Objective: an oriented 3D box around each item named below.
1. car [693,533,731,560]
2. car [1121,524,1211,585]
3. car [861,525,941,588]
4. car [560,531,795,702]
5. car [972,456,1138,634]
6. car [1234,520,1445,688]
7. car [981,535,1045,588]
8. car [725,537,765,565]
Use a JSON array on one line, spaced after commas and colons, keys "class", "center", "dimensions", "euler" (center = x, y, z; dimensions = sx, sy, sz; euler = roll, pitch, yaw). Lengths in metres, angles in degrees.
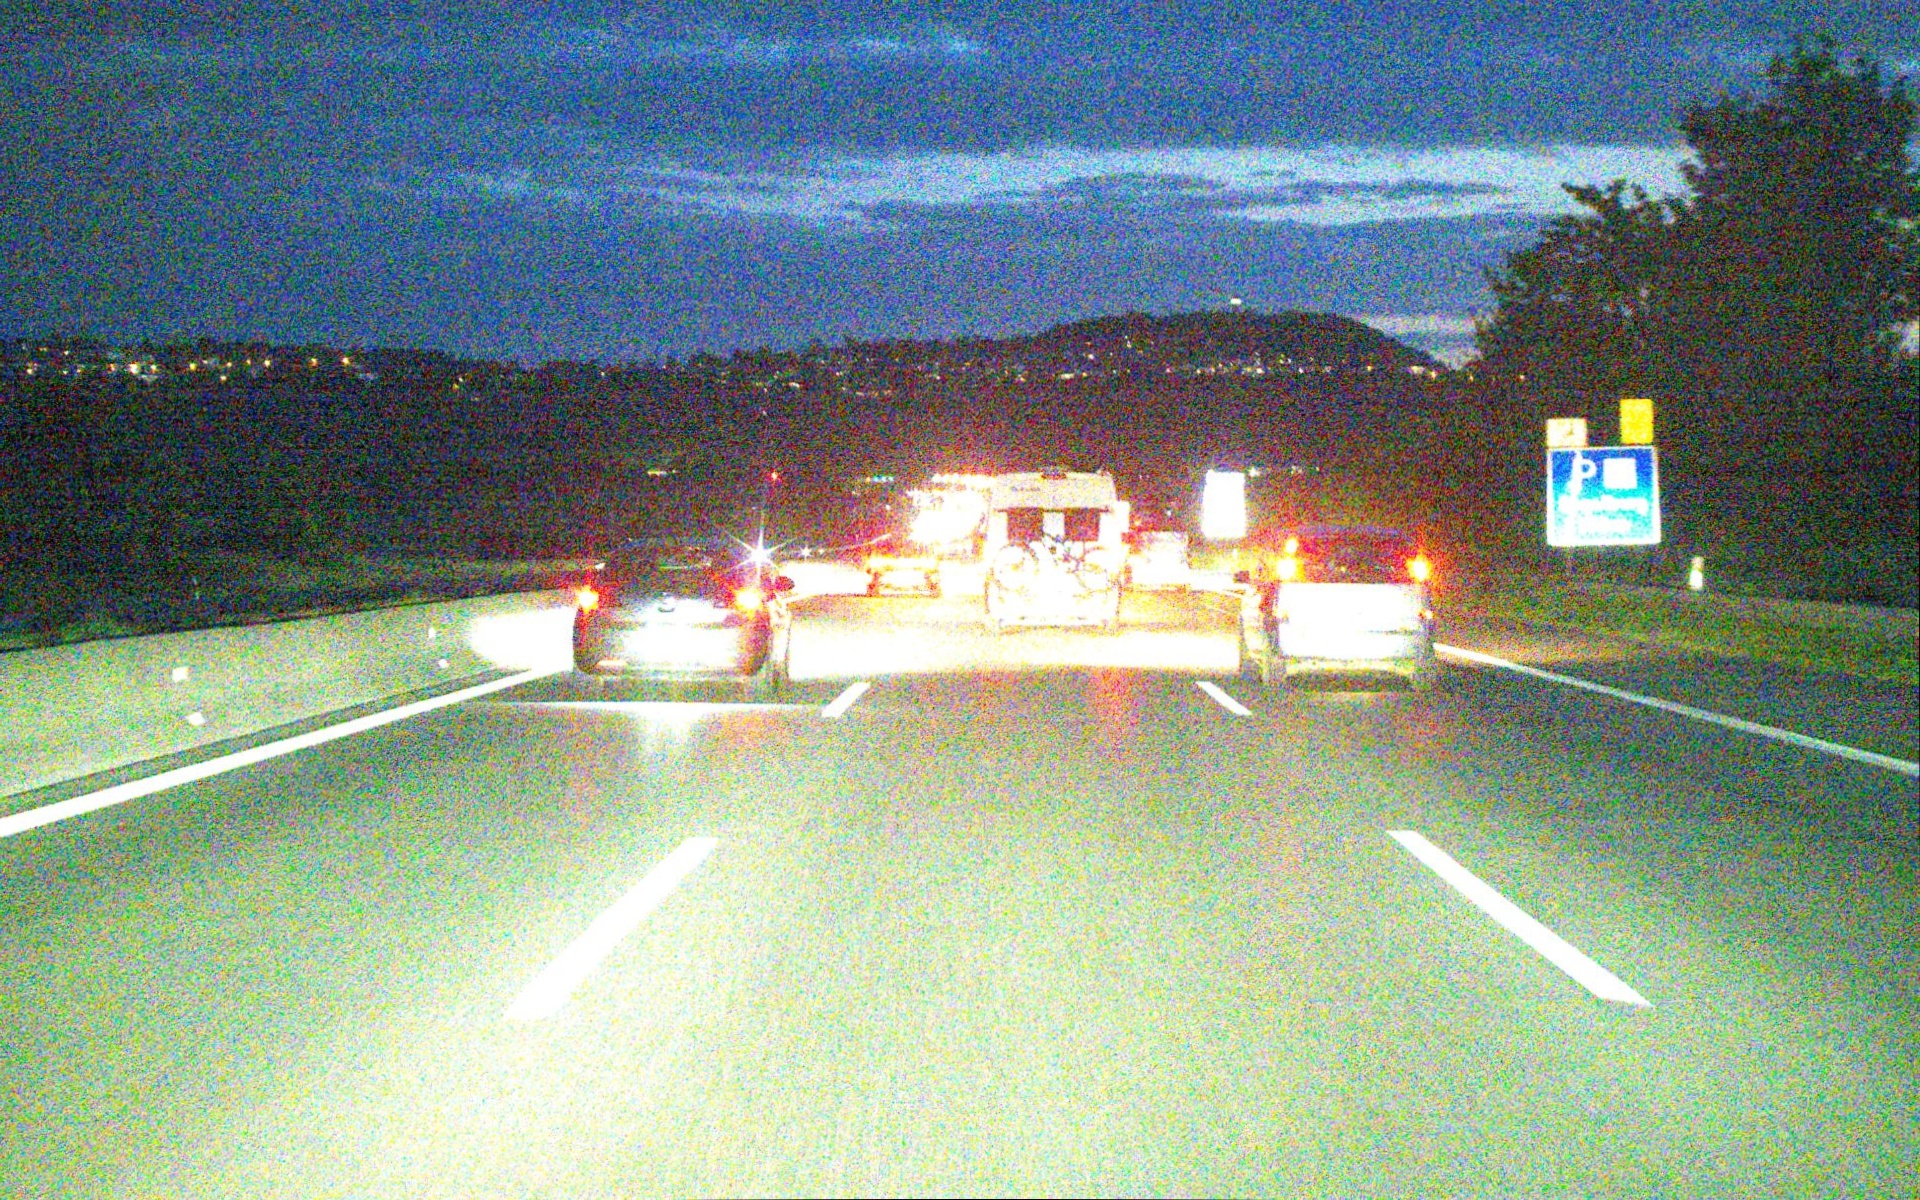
[{"class": "car", "center": [-16.621, -3.603, 230.910], "dimensions": [2.045, 1.714, 4.775], "euler": [-3, 1, 1]}, {"class": "car", "center": [5.378, -1.218, 90.368], "dimensions": [2.163, 1.558, 4.723], "euler": [0, 1, 1]}, {"class": "car", "center": [-1.388, -1.066, 82.792], "dimensions": [1.745, 1.435, 4.367], "euler": [-1, 2, 1]}, {"class": "car", "center": [-2.562, 0.107, 31.964], "dimensions": [1.794, 1.464, 3.773], "euler": [0, 2, 1]}, {"class": "car", "center": [1.426, -0.864, 52.289], "dimensions": [2.351, 2.526, 5.701], "euler": [-1, 1, 1]}, {"class": "car", "center": [3.788, -0.003, 34.936], "dimensions": [1.646, 1.591, 4.510], "euler": [0, 1, 0]}, {"class": "car", "center": [2.021, -1.478, 130.725], "dimensions": [2.351, 1.907, 4.723], "euler": [-1, 1, 1]}, {"class": "car", "center": [-12.925, -2.945, 206.833], "dimensions": [1.903, 1.637, 5.298], "euler": [-1, 1, 1]}]
